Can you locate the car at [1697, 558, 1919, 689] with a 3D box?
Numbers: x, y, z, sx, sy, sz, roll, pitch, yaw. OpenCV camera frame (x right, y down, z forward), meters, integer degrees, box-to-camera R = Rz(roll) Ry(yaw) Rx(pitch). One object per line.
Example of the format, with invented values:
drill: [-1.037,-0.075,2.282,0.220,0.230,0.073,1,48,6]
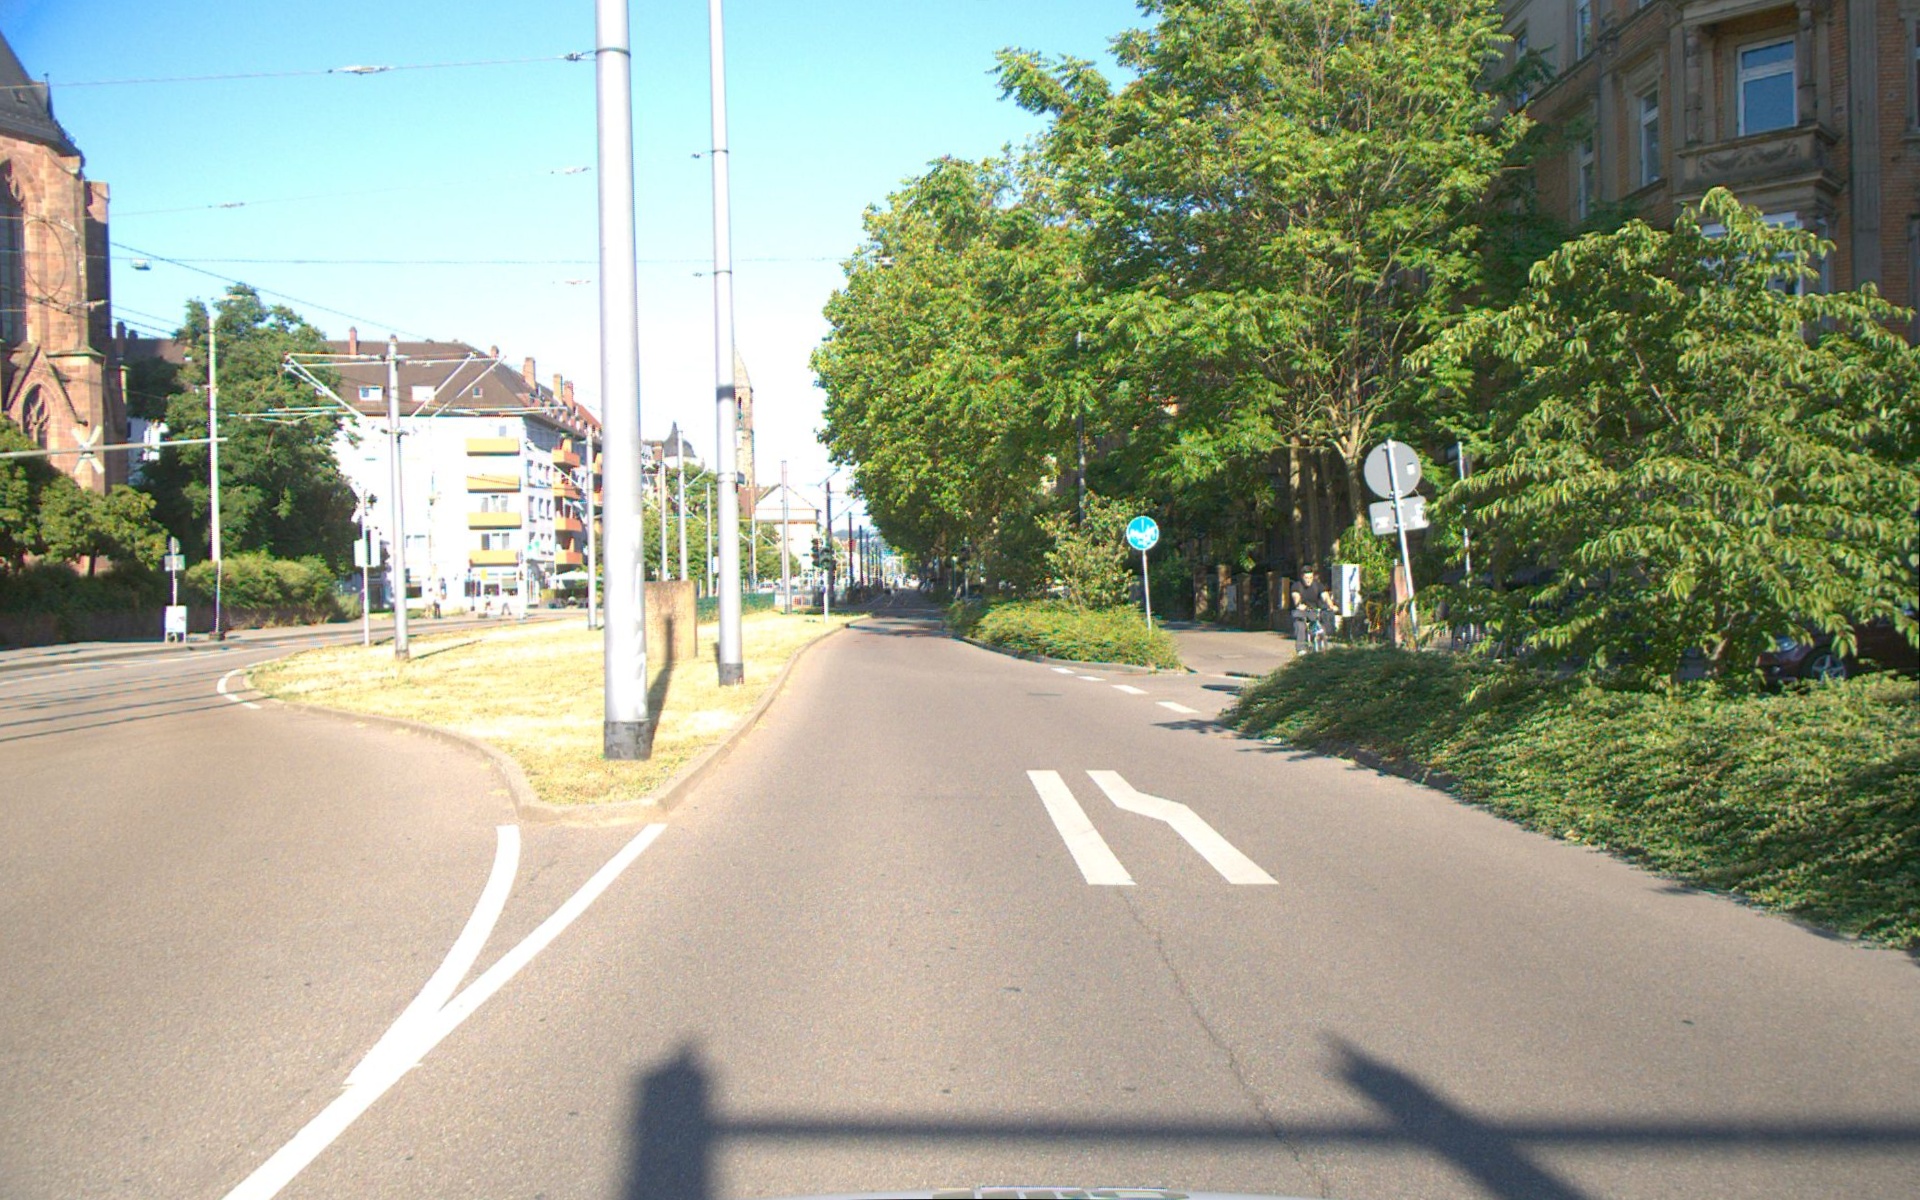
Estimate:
car: [12.089,0.245,21.559,4.166,1.439,1.813,-2,4,-2]

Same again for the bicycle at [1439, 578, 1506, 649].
bicycle: [8.808,0.213,28.481,0.507,1.065,1.820,-3,4,-2]

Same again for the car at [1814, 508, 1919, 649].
car: [16.622,-0.415,27.019,4.486,2.160,1.775,-1,4,-4]

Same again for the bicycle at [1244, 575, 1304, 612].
bicycle: [9.020,-0.193,47.532,1.619,0.940,0.539,-3,4,-1]

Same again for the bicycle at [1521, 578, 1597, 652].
bicycle: [9.936,0.229,27.480,0.507,1.065,1.820,-3,4,-2]

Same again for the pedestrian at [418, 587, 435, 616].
pedestrian: [-31.856,0.102,98.819,0.631,1.625,0.898,-3,4,-2]

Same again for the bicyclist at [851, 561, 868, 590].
bicyclist: [-6.952,-1.701,114.575,1.118,1.923,0.682,-3,4,-2]

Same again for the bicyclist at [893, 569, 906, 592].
bicyclist: [-4.272,-1.399,116.901,0.736,1.584,0.572,-3,4,-10]

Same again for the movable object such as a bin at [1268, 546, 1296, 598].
movable object such as a bin: [11.161,-0.970,57.362,0.739,1.721,0.742,-3,4,-4]

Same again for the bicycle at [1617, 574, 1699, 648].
bicycle: [11.622,0.163,27.583,0.507,1.065,1.820,-3,4,-2]

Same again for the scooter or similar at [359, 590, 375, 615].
scooter or similar: [-33.170,0.151,92.528,0.393,1.282,1.231,-3,4,-1]

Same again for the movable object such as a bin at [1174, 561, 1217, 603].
movable object such as a bin: [8.157,-0.631,57.256,1.207,1.406,1.257,-3,1,-3]

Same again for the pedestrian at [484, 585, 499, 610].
pedestrian: [-28.849,-0.175,101.891,0.674,1.493,0.591,-2,4,2]

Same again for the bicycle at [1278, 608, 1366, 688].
bicycle: [5.250,0.670,24.147,0.628,1.066,2.359,-3,0,-2]

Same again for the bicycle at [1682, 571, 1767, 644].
bicycle: [12.773,0.101,27.679,0.507,1.065,1.820,-3,4,-2]

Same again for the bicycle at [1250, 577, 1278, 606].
bicycle: [9.709,-0.288,52.832,0.753,0.868,0.375,-3,4,-5]

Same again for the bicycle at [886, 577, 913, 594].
bicycle: [-4.279,-1.043,116.918,1.782,1.065,0.572,-3,4,-10]

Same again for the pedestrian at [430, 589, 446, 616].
pedestrian: [-31.211,0.134,98.857,0.577,1.493,0.916,-3,4,-2]

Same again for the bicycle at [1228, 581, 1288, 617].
bicycle: [8.759,-0.034,48.659,1.619,0.940,0.539,-3,4,-1]

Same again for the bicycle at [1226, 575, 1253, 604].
bicycle: [8.934,-0.340,52.808,0.753,0.868,0.375,-3,4,-5]

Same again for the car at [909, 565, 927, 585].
car: [-4.699,-2.789,185.045,1.953,2.144,3.999,0,0,-1]

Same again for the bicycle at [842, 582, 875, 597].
bicycle: [-7.017,-0.731,114.616,2.196,0.992,0.682,-2,4,-3]

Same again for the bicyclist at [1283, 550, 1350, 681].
bicyclist: [5.226,0.223,24.277,0.628,1.846,1.052,-3,0,-3]

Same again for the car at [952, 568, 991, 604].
car: [0.502,-0.659,75.622,1.610,1.537,4.182,-3,1,-1]

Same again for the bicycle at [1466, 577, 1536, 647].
bicycle: [9.308,0.188,28.502,0.507,1.065,1.820,-3,4,-2]

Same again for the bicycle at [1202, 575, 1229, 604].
bicycle: [8.150,-0.327,52.736,0.753,0.868,0.375,-3,4,-5]

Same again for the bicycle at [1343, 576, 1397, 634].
bicycle: [8.086,0.088,32.683,0.515,1.005,1.722,-3,4,-3]
